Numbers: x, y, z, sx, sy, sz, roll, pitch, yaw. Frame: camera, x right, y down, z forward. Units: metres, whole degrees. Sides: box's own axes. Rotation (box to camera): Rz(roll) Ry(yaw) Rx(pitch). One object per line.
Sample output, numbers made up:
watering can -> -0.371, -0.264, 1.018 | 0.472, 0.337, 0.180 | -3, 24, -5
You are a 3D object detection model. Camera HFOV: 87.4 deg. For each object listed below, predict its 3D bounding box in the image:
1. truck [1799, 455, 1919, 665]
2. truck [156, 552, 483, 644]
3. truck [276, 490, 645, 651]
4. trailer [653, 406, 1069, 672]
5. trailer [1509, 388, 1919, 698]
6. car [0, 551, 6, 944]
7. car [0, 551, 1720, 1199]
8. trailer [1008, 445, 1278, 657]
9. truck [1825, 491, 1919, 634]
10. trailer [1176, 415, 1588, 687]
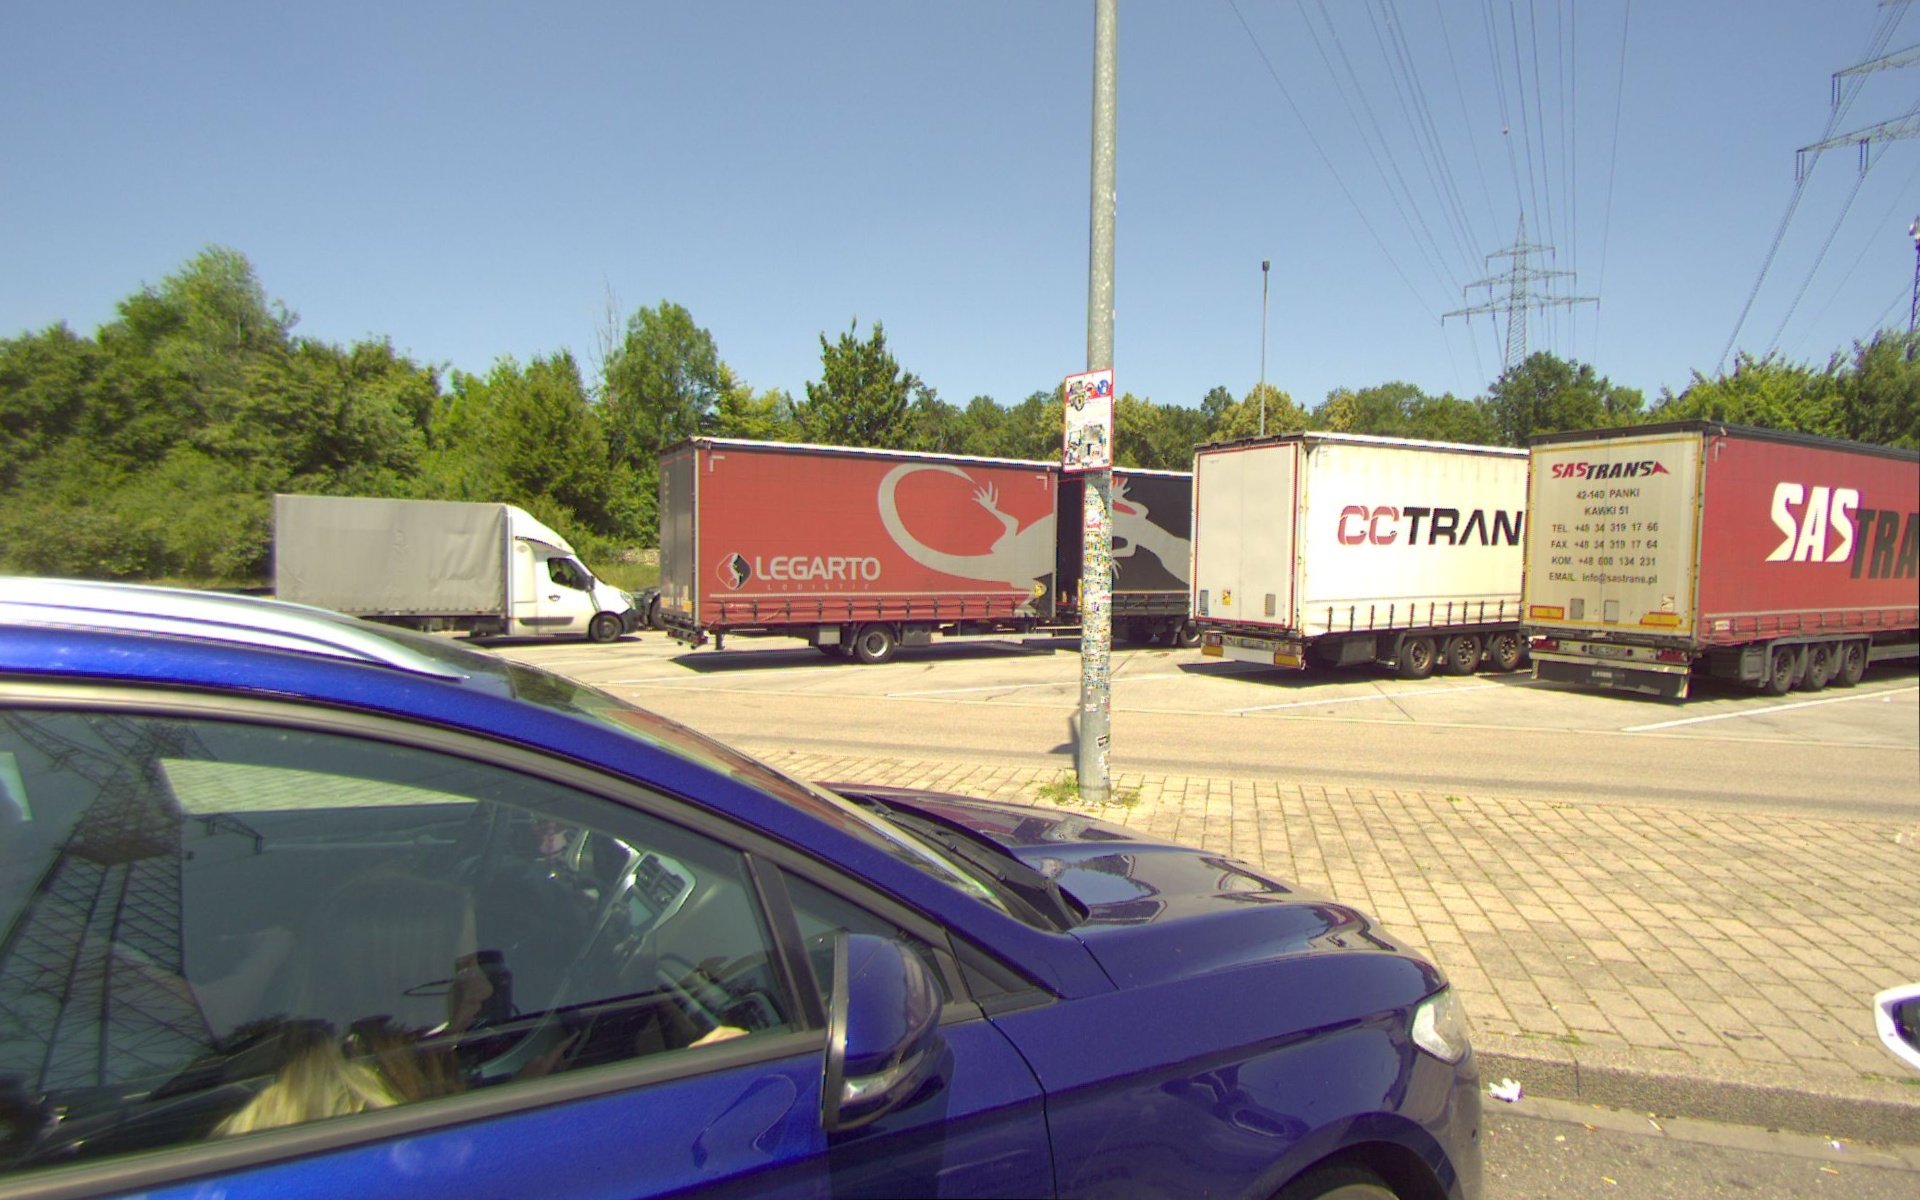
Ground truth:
truck -> 21.419, -0.783, 22.047 | 5.824, 4.189, 2.792 | 0, 0, -30
truck -> -15.411, -0.035, 24.694 | 6.538, 2.040, 1.984 | 0, 0, -30
truck -> -11.045, -0.575, 22.757 | 7.171, 3.194, 2.160 | 0, 1, -30
trailer -> -1.814, -1.020, 20.195 | 7.963, 4.510, 2.648 | 0, 0, -31
trailer -> 15.236, -0.754, 18.413 | 13.046, 4.276, 2.786 | 0, 0, -31
car -> -4.378, 0.506, 2.193 | 3.077, 1.378, 1.334 | 1, 0, -30
car -> -0.952, 0.683, 1.447 | 4.362, 1.437, 1.731 | 1, 0, -30
trailer -> 4.423, -1.031, 24.016 | 6.076, 4.504, 2.665 | 0, 0, -30
truck -> 31.395, -0.960, 28.825 | 9.851, 4.087, 2.242 | 2, 1, 14
trailer -> 8.094, -0.759, 18.842 | 8.189, 4.208, 2.741 | 0, 1, -30
